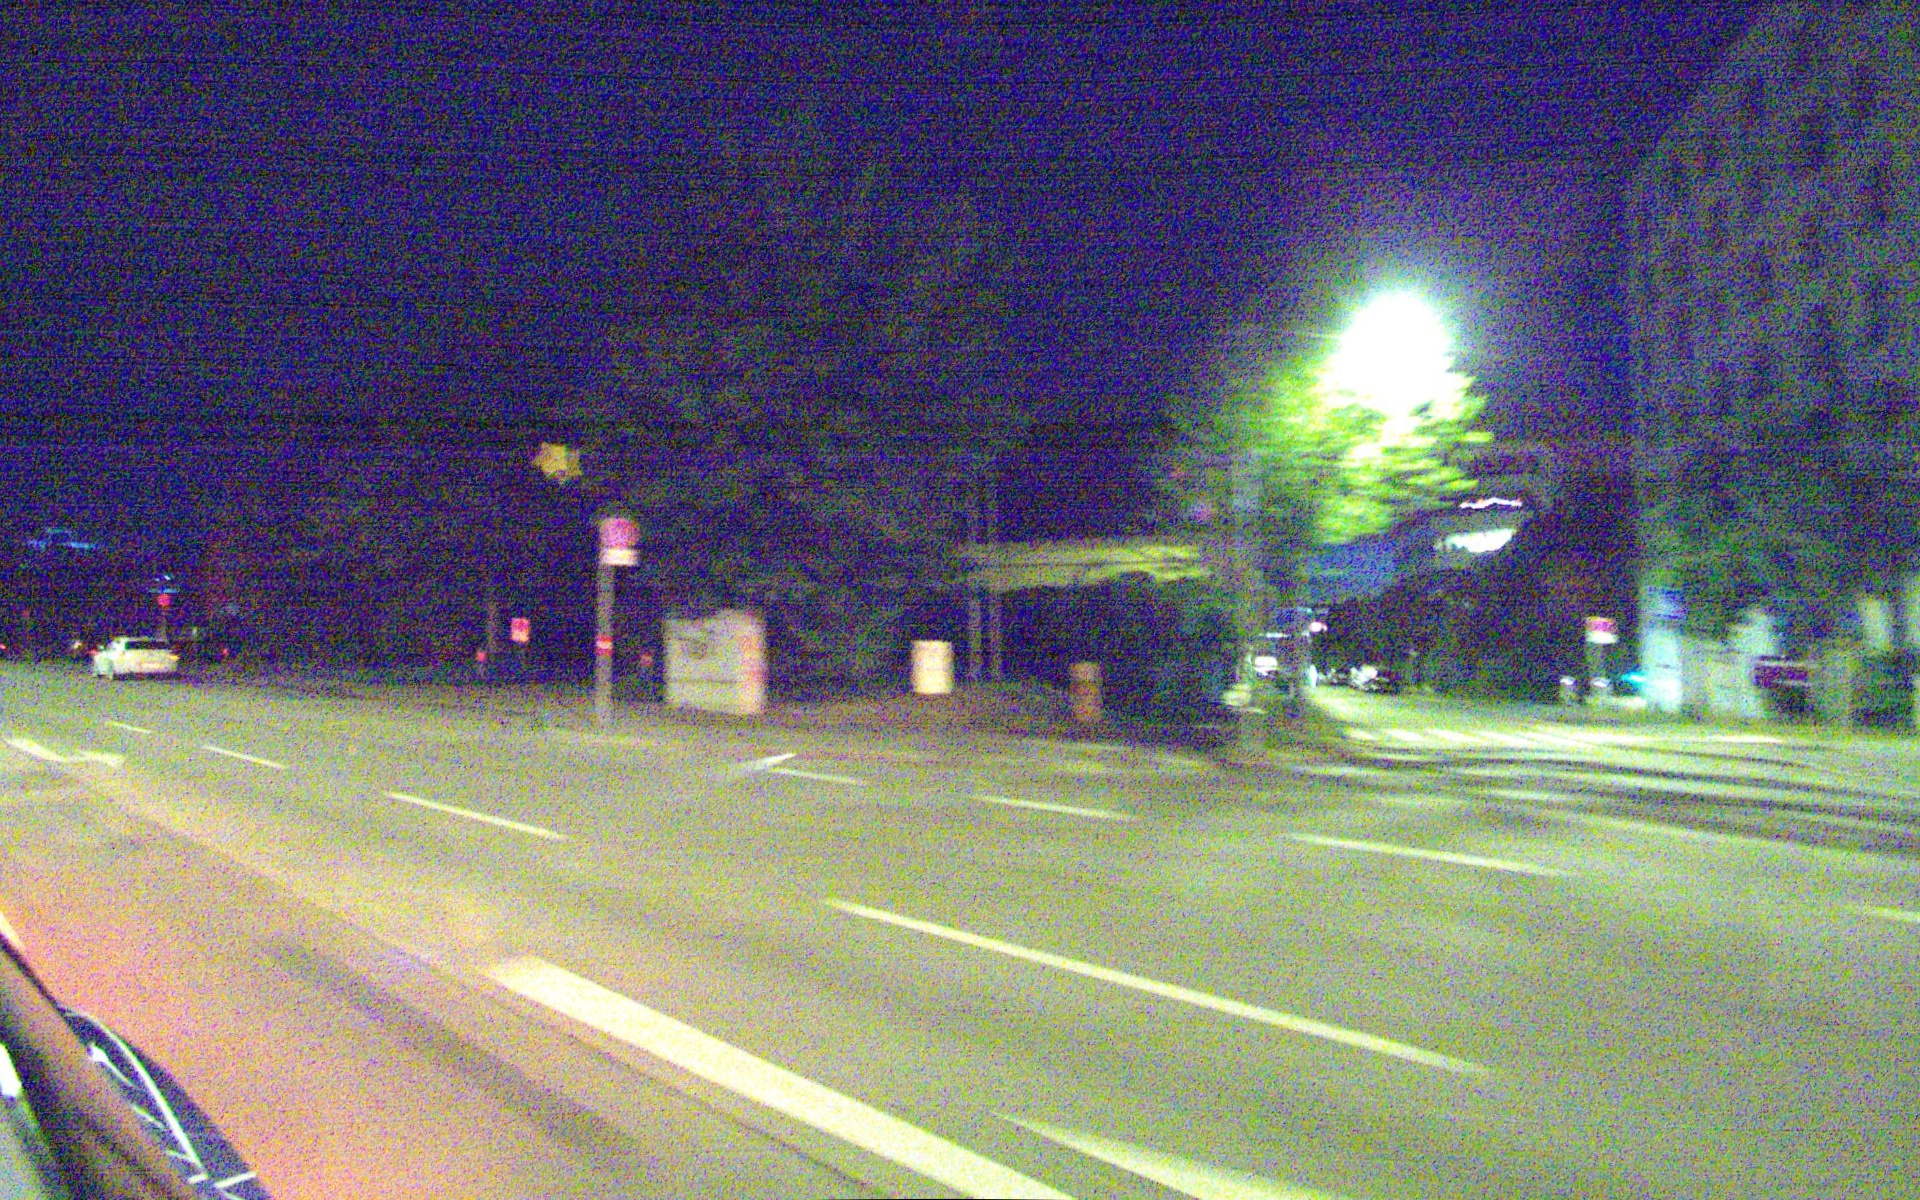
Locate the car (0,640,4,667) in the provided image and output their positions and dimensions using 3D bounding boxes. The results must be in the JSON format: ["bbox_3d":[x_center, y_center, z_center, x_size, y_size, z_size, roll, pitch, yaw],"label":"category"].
[{"bbox_3d":[-57.828,3.157,59.824,4.324,1.538,1.735,-2,-4,45],"label":"car"}]

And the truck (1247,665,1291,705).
[{"bbox_3d":[15.545,4.260,51.092,1.983,1.807,3.978,3,-3,16],"label":"truck"}]

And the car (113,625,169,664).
[{"bbox_3d":[-52.105,2.839,64.335,4.626,2.339,2.182,-2,-4,44],"label":"car"}]

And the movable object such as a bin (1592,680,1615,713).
[{"bbox_3d":[27.028,4.047,42.535,0.561,1.317,0.620,1,-4,3],"label":"movable object such as a bin"}]

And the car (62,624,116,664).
[{"bbox_3d":[-53.342,2.693,61.978,4.968,2.339,1.971,-2,-5,45],"label":"car"}]

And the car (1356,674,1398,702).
[{"bbox_3d":[27.157,5.690,66.006,1.860,1.654,3.982,0,-3,13],"label":"car"}]

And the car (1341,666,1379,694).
[{"bbox_3d":[28.290,5.639,71.724,1.981,1.850,3.982,1,-3,14],"label":"car"}]

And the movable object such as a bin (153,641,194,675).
[{"bbox_3d":[-35.134,2.584,45.218,1.064,1.507,1.153,-2,-4,38],"label":"movable object such as a bin"}]

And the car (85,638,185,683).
[{"bbox_3d":[-27.808,1.999,34.062,4.336,1.414,1.891,-2,-4,41],"label":"car"}]

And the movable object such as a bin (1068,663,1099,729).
[{"bbox_3d":[2.536,1.969,20.812,0.561,1.317,0.620,1,-4,3],"label":"movable object such as a bin"}]
